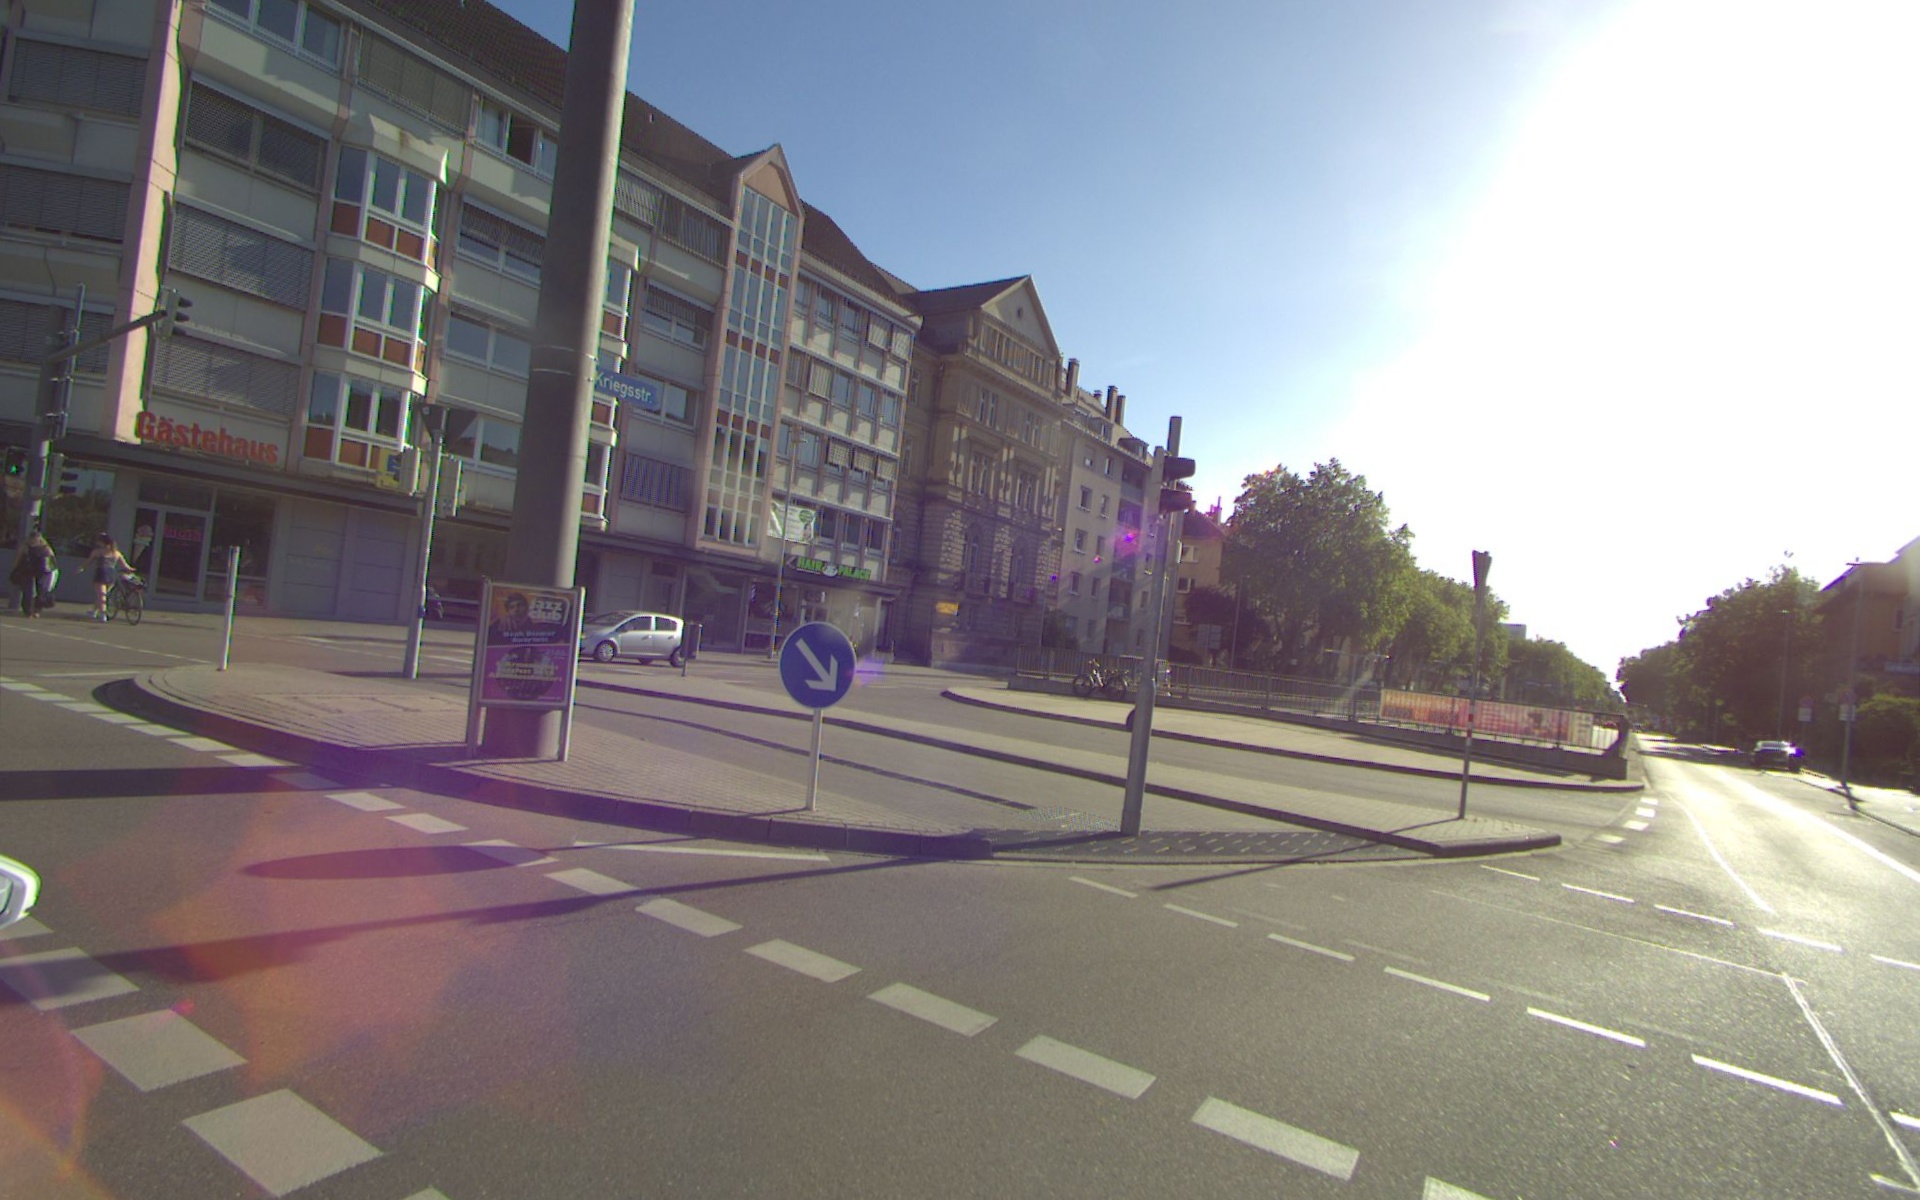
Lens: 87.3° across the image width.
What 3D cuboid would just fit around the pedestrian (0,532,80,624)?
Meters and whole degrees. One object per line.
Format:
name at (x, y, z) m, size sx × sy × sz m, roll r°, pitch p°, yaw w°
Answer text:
pedestrian at (-17.475, -0.412, 19.052) m, size 0.852 × 1.594 × 0.781 m, roll 7°, pitch -2°, yaw 27°

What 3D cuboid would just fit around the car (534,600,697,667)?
car at (-9.340, 0.952, 27.525) m, size 1.777 × 1.447 × 3.843 m, roll 2°, pitch -5°, yaw 36°

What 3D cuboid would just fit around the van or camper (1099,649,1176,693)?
van or camper at (9.660, 3.894, 54.305) m, size 2.009 × 1.975 × 5.250 m, roll 5°, pitch -2°, yaw 34°

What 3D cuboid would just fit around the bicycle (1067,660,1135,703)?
bicycle at (4.418, 2.541, 31.571) m, size 1.965 × 1.092 × 0.596 m, roll 5°, pitch -3°, yaw 35°

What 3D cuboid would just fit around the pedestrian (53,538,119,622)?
pedestrian at (-17.676, -0.403, 20.354) m, size 0.851 × 1.572 × 0.527 m, roll 5°, pitch -2°, yaw 21°

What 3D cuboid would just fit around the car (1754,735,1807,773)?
car at (41.531, 7.758, 50.889) m, size 1.668 × 1.615 × 3.873 m, roll 5°, pitch -3°, yaw 44°

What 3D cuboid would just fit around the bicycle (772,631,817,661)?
bicycle at (-6.822, 1.918, 41.541) m, size 0.528 × 1.061 × 1.970 m, roll 5°, pitch -3°, yaw 33°

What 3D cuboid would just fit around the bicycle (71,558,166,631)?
bicycle at (-17.153, -0.114, 20.501) m, size 1.873 × 1.299 × 0.546 m, roll 5°, pitch -2°, yaw 22°
